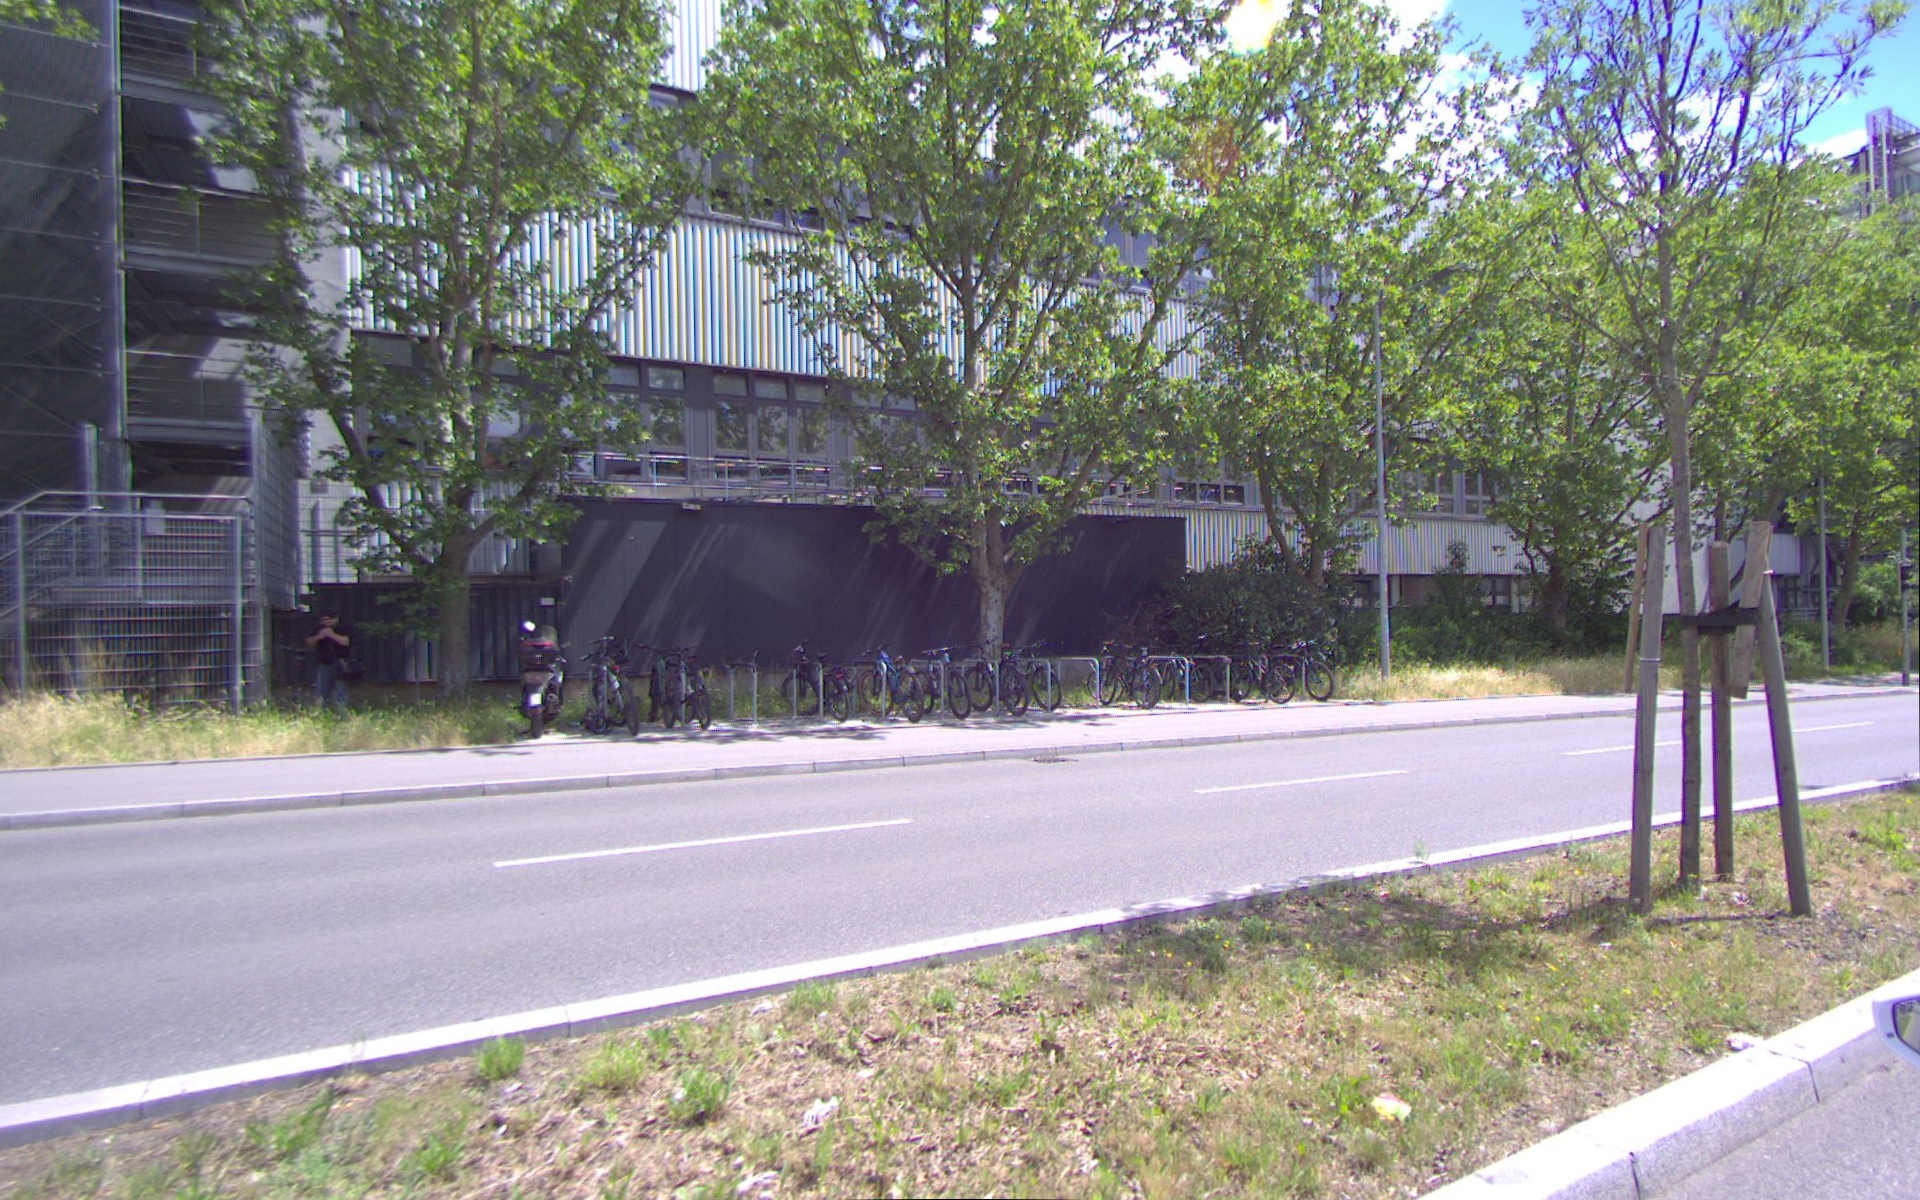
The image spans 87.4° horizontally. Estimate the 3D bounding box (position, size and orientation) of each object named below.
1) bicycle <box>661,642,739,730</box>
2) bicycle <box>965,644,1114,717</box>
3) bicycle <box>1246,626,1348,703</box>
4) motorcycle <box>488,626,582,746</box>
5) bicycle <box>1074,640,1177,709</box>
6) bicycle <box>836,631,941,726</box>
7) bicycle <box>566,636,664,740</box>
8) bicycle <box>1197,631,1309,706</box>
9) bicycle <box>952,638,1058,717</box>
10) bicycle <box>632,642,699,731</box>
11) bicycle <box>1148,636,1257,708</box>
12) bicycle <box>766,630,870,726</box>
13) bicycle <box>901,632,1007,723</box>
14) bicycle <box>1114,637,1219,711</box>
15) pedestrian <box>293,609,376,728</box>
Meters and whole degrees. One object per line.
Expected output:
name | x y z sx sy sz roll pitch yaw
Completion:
bicycle | -3.664 1.158 14.042 0.491 1.076 2.070 1 0 -31
bicycle | 1.291 1.311 17.025 0.843 1.020 2.813 1 0 -38
bicycle | 6.525 1.215 19.568 0.483 1.382 2.158 1 0 -27
motorcycle | -5.371 1.012 12.604 0.797 1.326 2.123 1 0 -31
bicycle | 2.902 1.286 17.954 0.685 1.110 2.562 1 -2 -19
bicycle | -1.105 1.133 15.130 0.797 1.299 1.908 1 0 -31
bicycle | -4.559 1.095 13.182 0.797 1.196 2.123 1 0 -31
bicycle | 5.493 1.250 19.016 0.549 1.274 2.395 1 0 -27
bicycle | 0.702 1.222 16.271 0.797 1.137 1.908 1 0 -31
bicycle | -4.089 1.150 13.854 0.417 1.089 1.914 1 0 -31
bicycle | 4.508 1.310 18.935 0.714 1.173 2.562 1 0 -19
bicycle | -2.180 1.121 15.156 0.797 1.299 2.123 1 0 -31
bicycle | -0.125 1.168 15.739 0.797 1.299 1.908 1 -1 -31
bicycle | 3.688 1.293 18.193 0.634 1.173 2.562 1 0 -19
pedestrian | -8.606 0.921 13.858 0.808 1.572 0.753 1 0 -20
